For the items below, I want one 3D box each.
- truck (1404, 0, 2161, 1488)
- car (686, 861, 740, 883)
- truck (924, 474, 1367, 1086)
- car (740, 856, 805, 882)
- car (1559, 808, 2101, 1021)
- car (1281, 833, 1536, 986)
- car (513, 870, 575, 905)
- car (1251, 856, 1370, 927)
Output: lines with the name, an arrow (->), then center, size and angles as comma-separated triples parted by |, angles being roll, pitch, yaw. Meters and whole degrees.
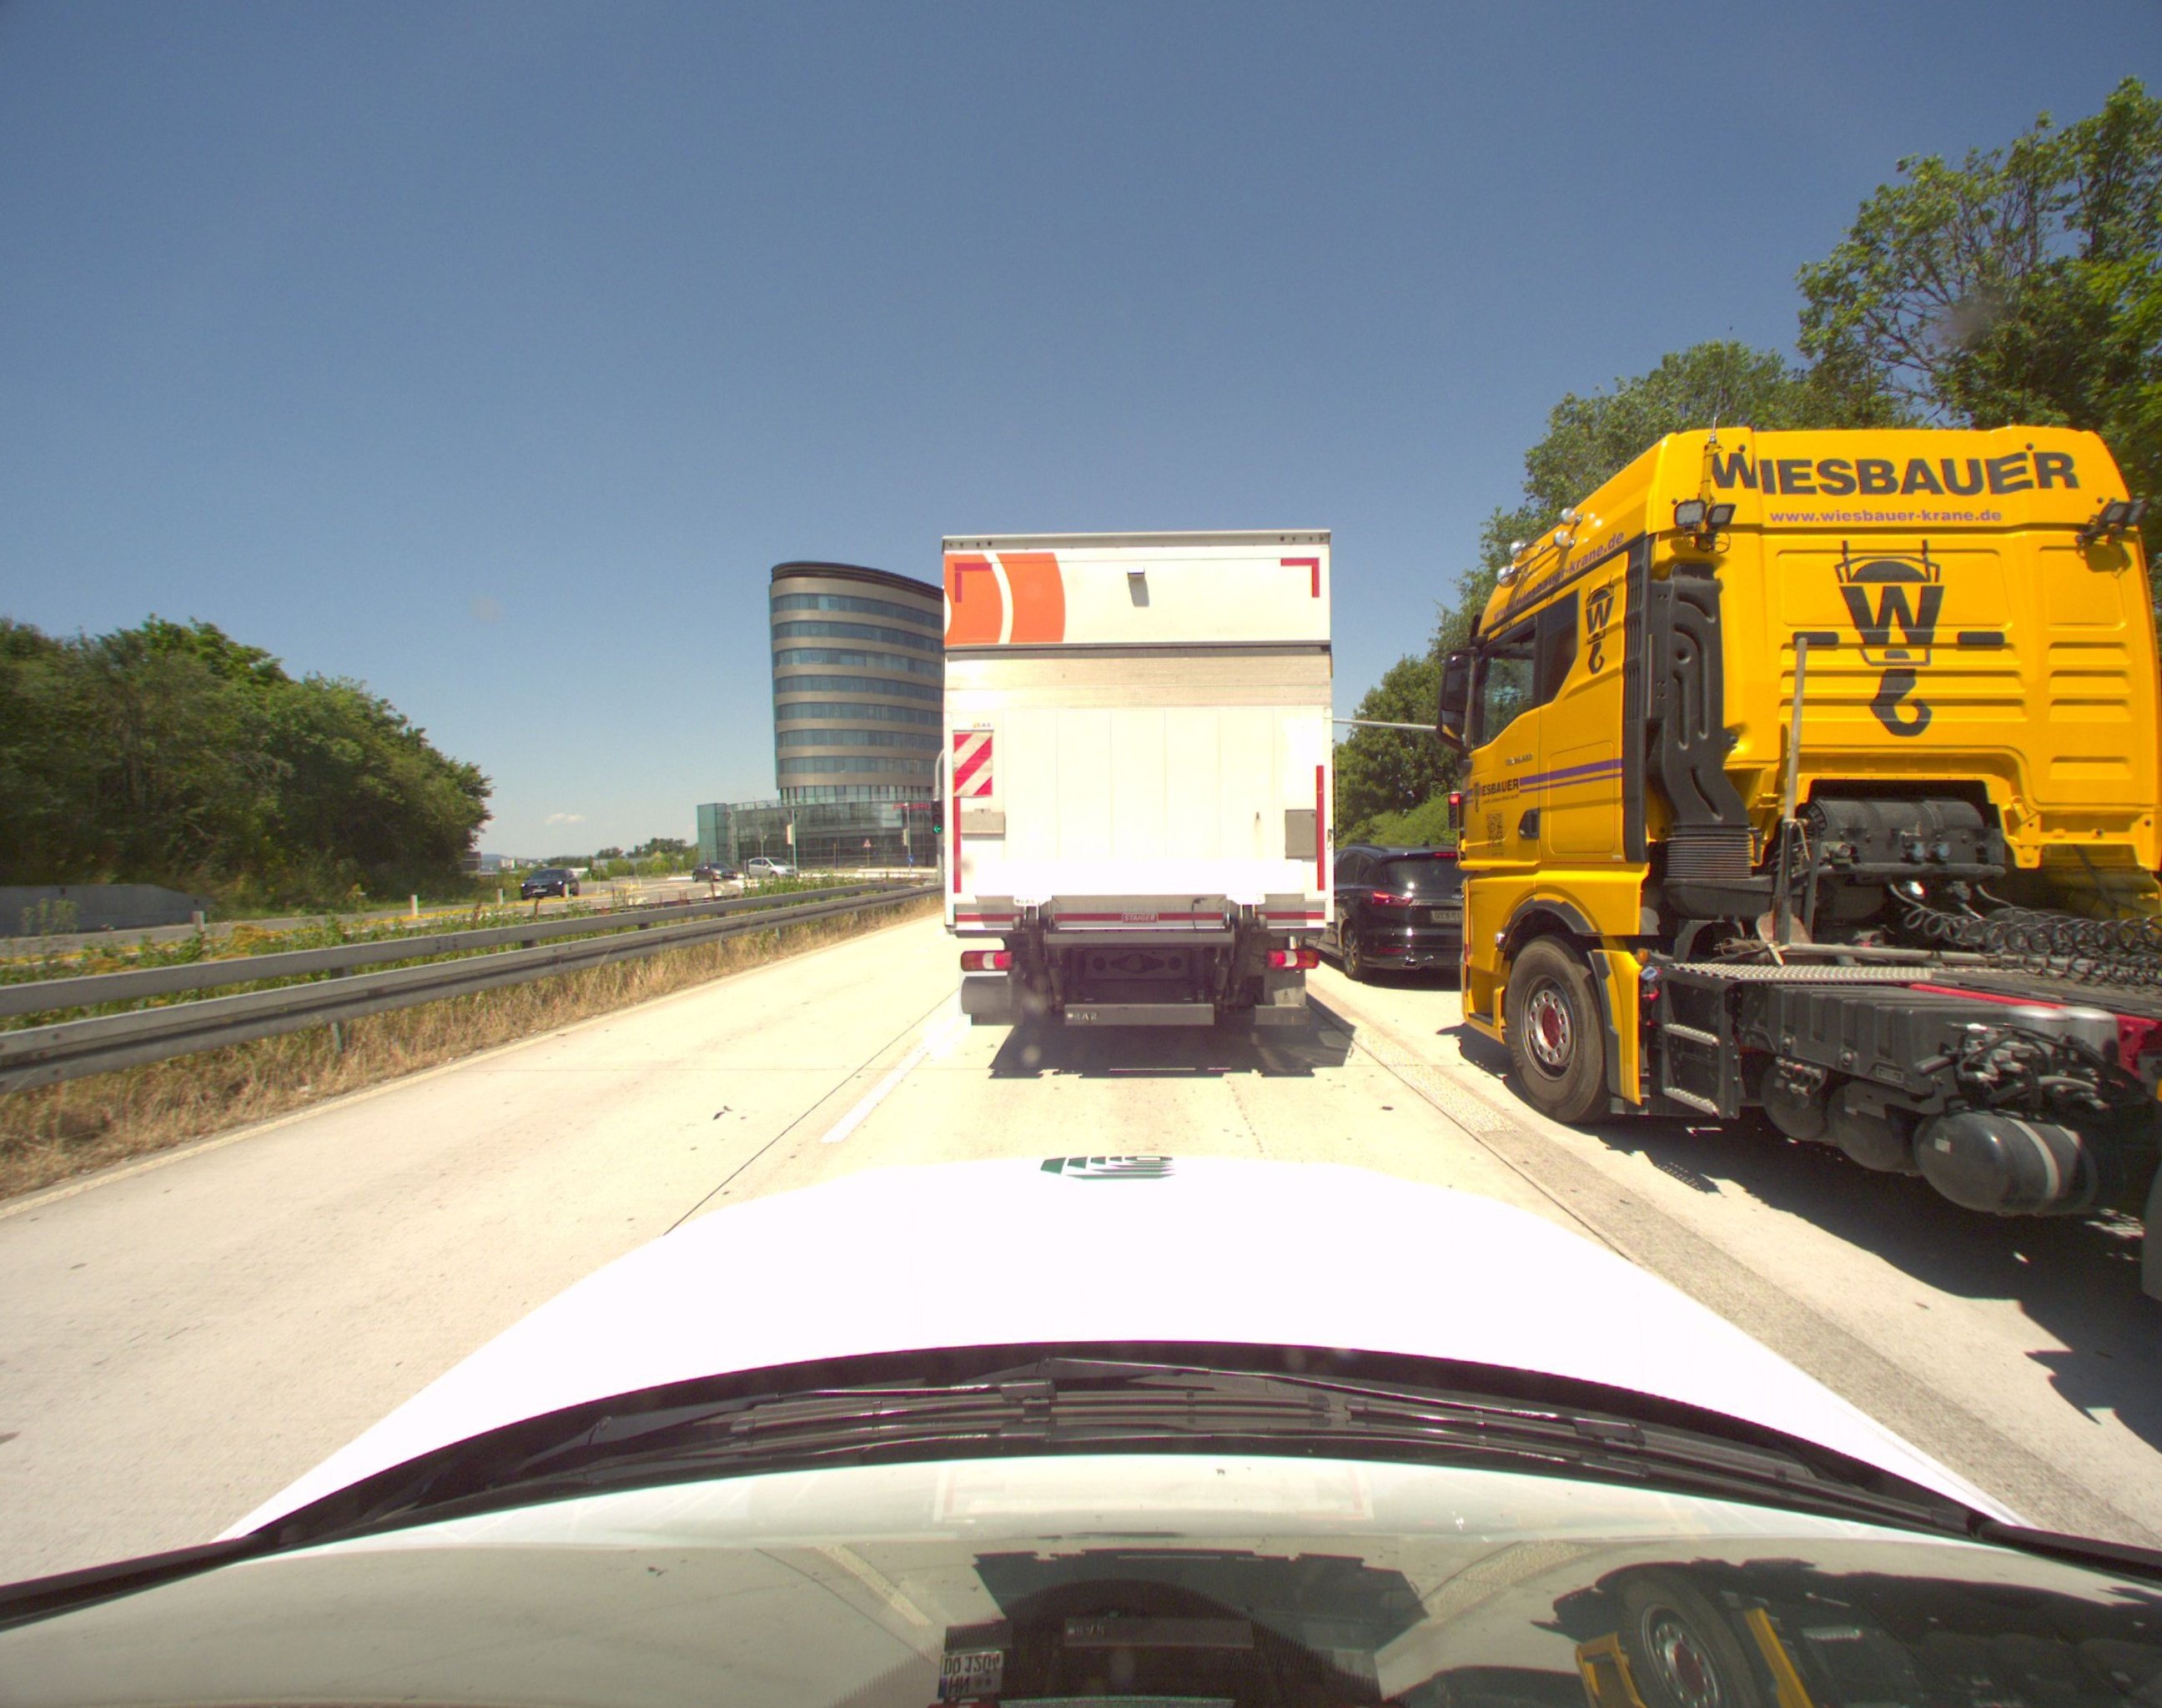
truck -> 3.929, -0.466, 2.437 | 3.003, 3.772, 7.470 | 0, 0, 0
car -> -26.728, 1.305, 59.070 | 4.273, 1.456, 1.708 | -3, -2, 37
truck -> 0.530, -0.438, 9.861 | 2.759, 3.860, 9.373 | -1, -1, 2
car -> -20.641, 1.007, 54.509 | 4.273, 1.595, 1.788 | -3, -2, 31
car -> 7.844, 0.533, 9.389 | 1.763, 1.807, 4.789 | 0, -1, -2
car -> 4.097, 0.618, 11.104 | 1.776, 1.639, 4.650 | 0, -1, 2
car -> -25.292, 1.538, 38.497 | 1.719, 1.485, 4.261 | 0, -1, -23
car -> 5.058, 0.775, 18.580 | 1.759, 1.410, 4.615 | 0, -1, 5
